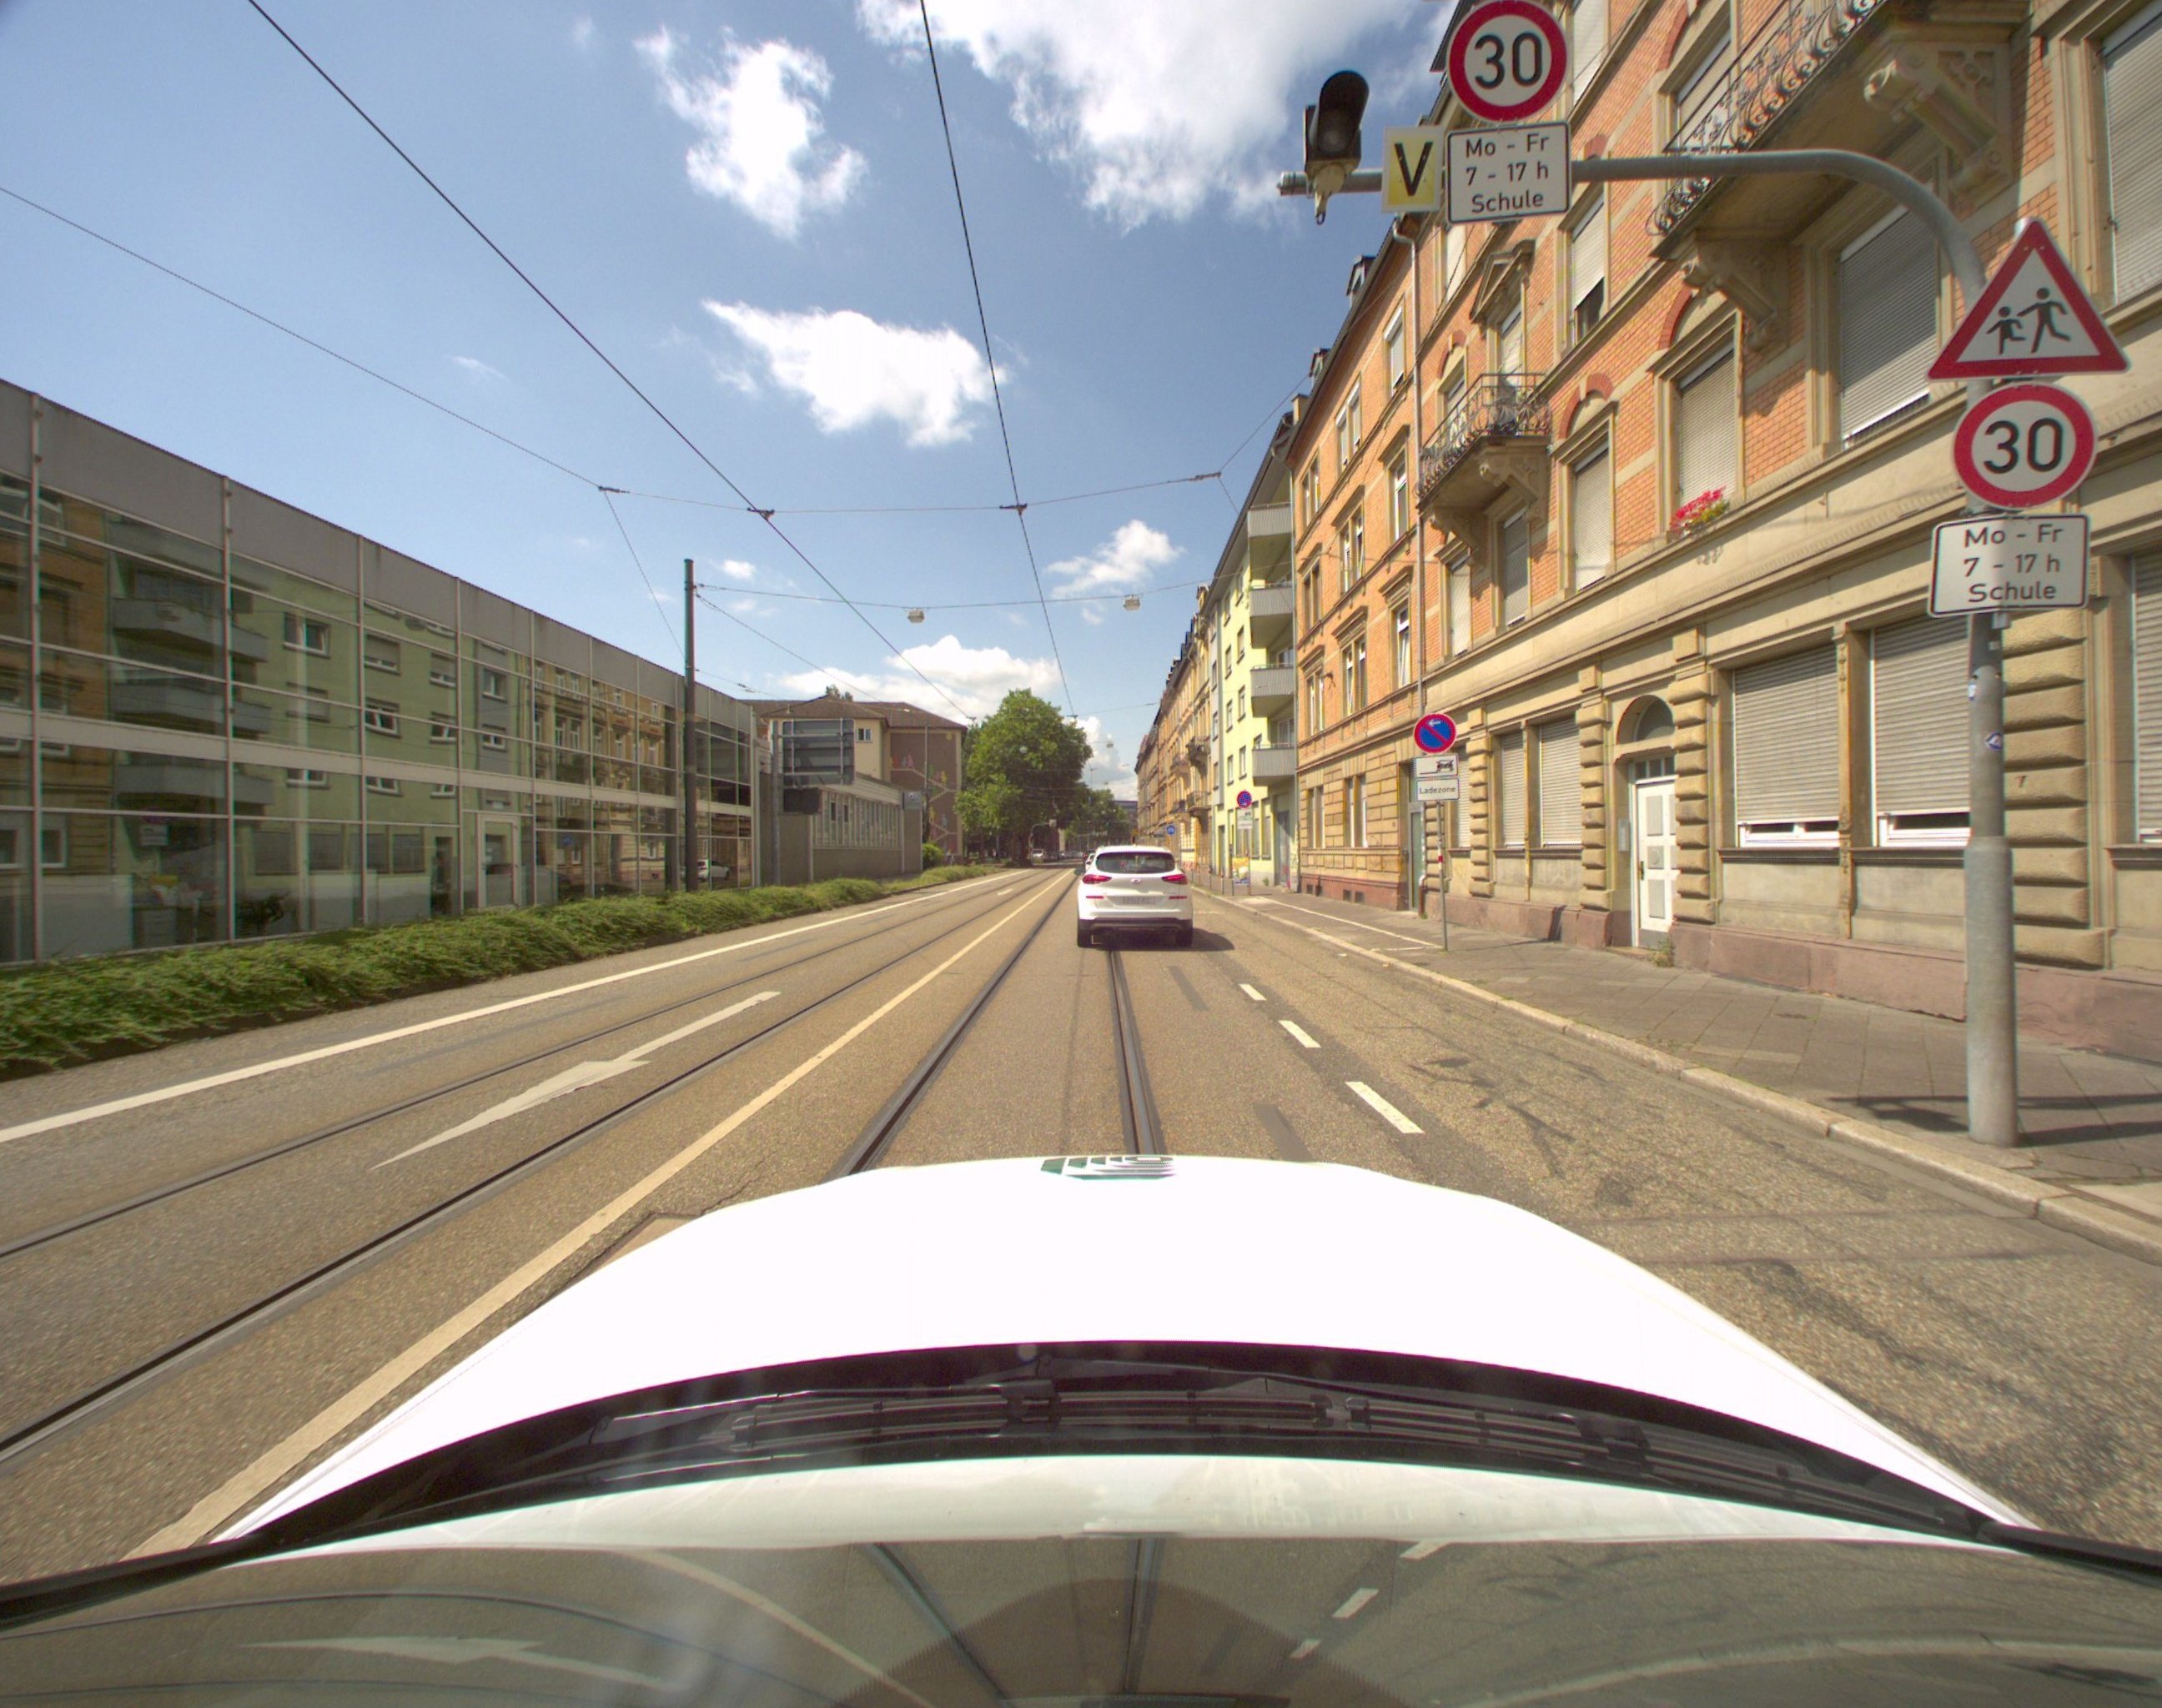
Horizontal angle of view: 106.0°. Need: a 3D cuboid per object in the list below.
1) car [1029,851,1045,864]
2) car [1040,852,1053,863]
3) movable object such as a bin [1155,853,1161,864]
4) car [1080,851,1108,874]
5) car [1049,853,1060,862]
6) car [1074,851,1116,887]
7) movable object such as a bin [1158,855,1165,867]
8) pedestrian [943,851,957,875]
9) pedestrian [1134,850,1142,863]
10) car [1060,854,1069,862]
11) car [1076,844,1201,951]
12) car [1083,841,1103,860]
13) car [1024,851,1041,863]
[{"bbox_3d":[-6.181,0.499,115.850,1.943,1.895,4.566,0,0,1],"label":"car"},{"bbox_3d":[-5.575,0.547,131.099,1.944,1.632,3.998,0,0,-1],"label":"car"},{"bbox_3d":[7.667,0.441,81.270,0.610,1.143,0.639,0,0,1],"label":"movable object such as a bin"},{"bbox_3d":[0.922,0.550,55.511,1.808,1.524,3.956,-1,0,1],"label":"car"},{"bbox_3d":[-4.850,0.686,148.780,1.944,1.632,3.998,0,0,-1],"label":"car"},{"bbox_3d":[0.687,0.656,37.824,1.807,1.524,4.087,-1,0,2],"label":"car"},{"bbox_3d":[7.901,0.708,79.836,0.610,1.143,0.639,0,0,1],"label":"movable object such as a bin"},{"bbox_3d":[-10.544,0.706,65.478,0.877,1.865,1.081,-2,0,1],"label":"pedestrian"},{"bbox_3d":[7.200,0.312,103.560,0.934,1.573,1.050,0,0,1],"label":"pedestrian"},{"bbox_3d":[-3.726,0.839,180.029,1.944,1.632,3.998,0,0,-1],"label":"car"},{"bbox_3d":[0.866,0.670,14.514,1.847,1.634,4.178,0,0,-1],"label":"car"},{"bbox_3d":[1.140,-0.312,75.373,1.808,1.661,4.086,-1,0,1],"label":"car"},{"bbox_3d":[-6.516,0.433,109.800,1.943,1.632,4.576,0,0,1],"label":"car"}]
